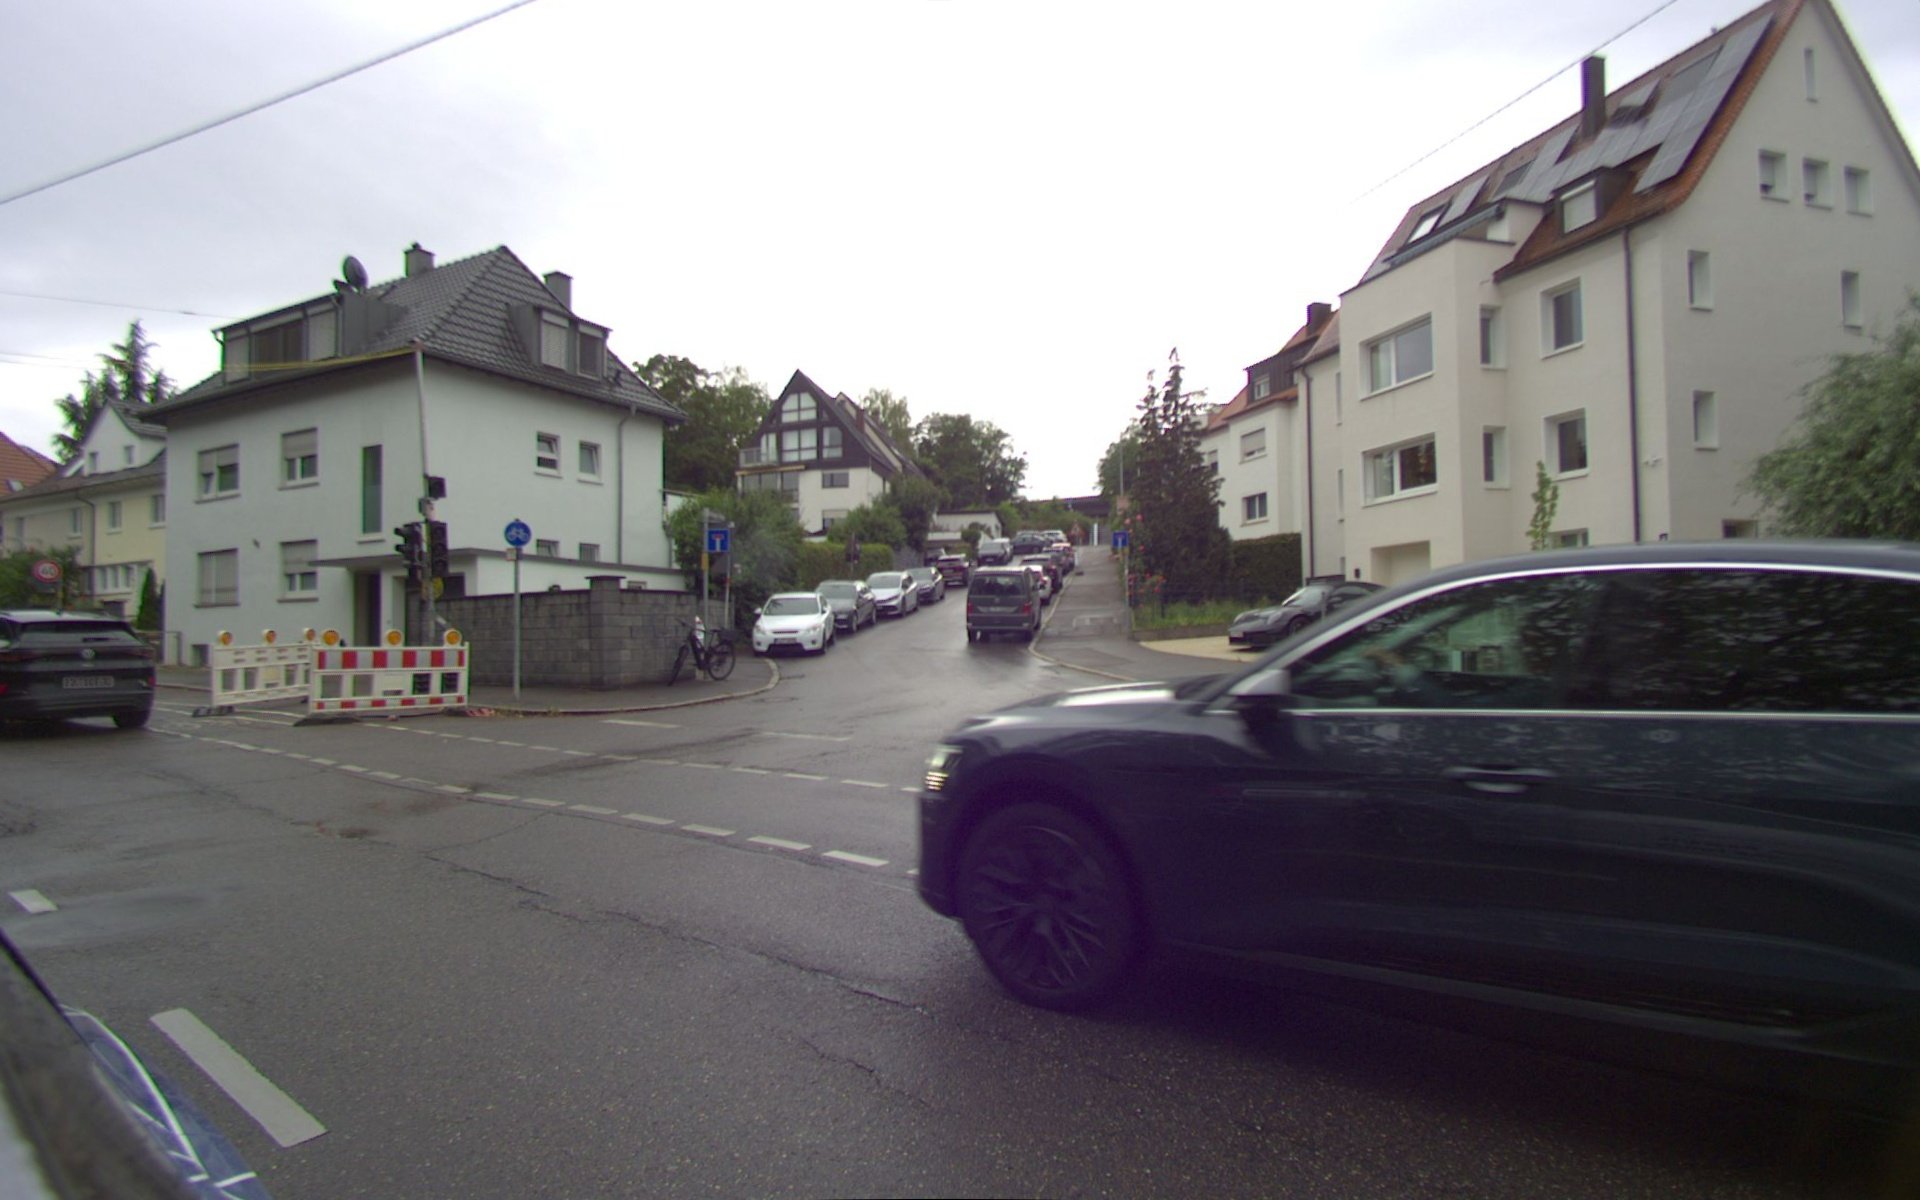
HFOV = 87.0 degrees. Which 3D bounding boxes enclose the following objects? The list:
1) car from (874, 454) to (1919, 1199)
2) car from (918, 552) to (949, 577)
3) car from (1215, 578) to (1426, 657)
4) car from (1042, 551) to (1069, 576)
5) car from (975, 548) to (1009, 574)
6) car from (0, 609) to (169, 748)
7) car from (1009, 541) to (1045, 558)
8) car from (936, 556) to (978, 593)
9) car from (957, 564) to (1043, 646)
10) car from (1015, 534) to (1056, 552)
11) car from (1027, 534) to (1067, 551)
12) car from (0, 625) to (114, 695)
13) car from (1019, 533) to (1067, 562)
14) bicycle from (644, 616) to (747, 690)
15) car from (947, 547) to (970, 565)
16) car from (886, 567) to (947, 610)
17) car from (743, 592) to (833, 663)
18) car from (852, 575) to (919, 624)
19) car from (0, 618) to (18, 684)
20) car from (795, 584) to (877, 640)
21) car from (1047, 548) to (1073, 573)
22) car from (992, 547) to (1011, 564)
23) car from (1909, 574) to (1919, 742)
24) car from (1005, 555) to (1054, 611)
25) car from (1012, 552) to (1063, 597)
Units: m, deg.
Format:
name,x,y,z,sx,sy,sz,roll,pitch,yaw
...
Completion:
name,x,y,z,sx,sy,sz,roll,pitch,yaw
car,2.117,0.535,3.371,4.680,1.686,1.975,-1,0,37
car,-1.822,-2.396,69.780,1.793,1.566,4.009,-1,0,3
car,7.712,0.344,21.758,3.942,1.290,1.613,-5,1,-13
car,5.508,-2.122,58.098,1.274,1.325,2.984,-1,3,10
car,2.201,-2.647,68.873,1.770,1.531,4.016,-1,0,9
car,-12.735,0.950,13.721,4.150,1.634,1.853,-1,0,32
car,5.559,-4.170,83.641,2.914,1.328,1.282,-1,0,4
car,-0.109,-1.345,52.451,1.623,1.637,3.992,-1,5,8
car,1.247,0.061,29.311,1.978,2.028,4.482,-1,4,9
car,7.397,-5.556,98.776,3.922,1.528,1.748,-1,0,6
car,8.945,-5.864,103.902,3.782,1.529,1.664,-1,-1,15
car,-21.464,1.338,23.368,3.833,1.443,1.768,-1,-1,30
car,7.208,-4.532,87.630,3.954,2.028,1.995,-5,-1,8
bicycle,-4.781,0.938,18.443,0.508,1.249,1.984,1,0,32
car,-0.076,-3.235,74.008,1.559,1.220,3.650,-1,3,2
car,-1.802,-0.539,42.946,1.903,1.448,4.100,-1,5,7
car,-4.349,0.633,26.142,1.827,1.473,4.124,-1,3,-3
car,-2.653,-0.072,37.073,1.738,1.481,3.940,-1,4,6
car,-26.149,1.320,25.760,4.131,1.653,1.782,-1,-1,25
car,-3.822,0.330,31.804,1.702,1.397,3.900,-1,4,6
car,6.243,-2.425,62.835,1.488,1.373,3.465,-1,0,8
car,3.064,-3.301,74.698,1.292,1.206,2.980,-1,3,5
car,10.609,0.430,8.535,3.934,1.497,1.780,-2,-1,-12
car,2.825,-0.739,40.310,1.686,1.843,4.194,-1,6,7
car,3.526,-1.177,45.363,1.823,1.699,4.039,-1,5,11
